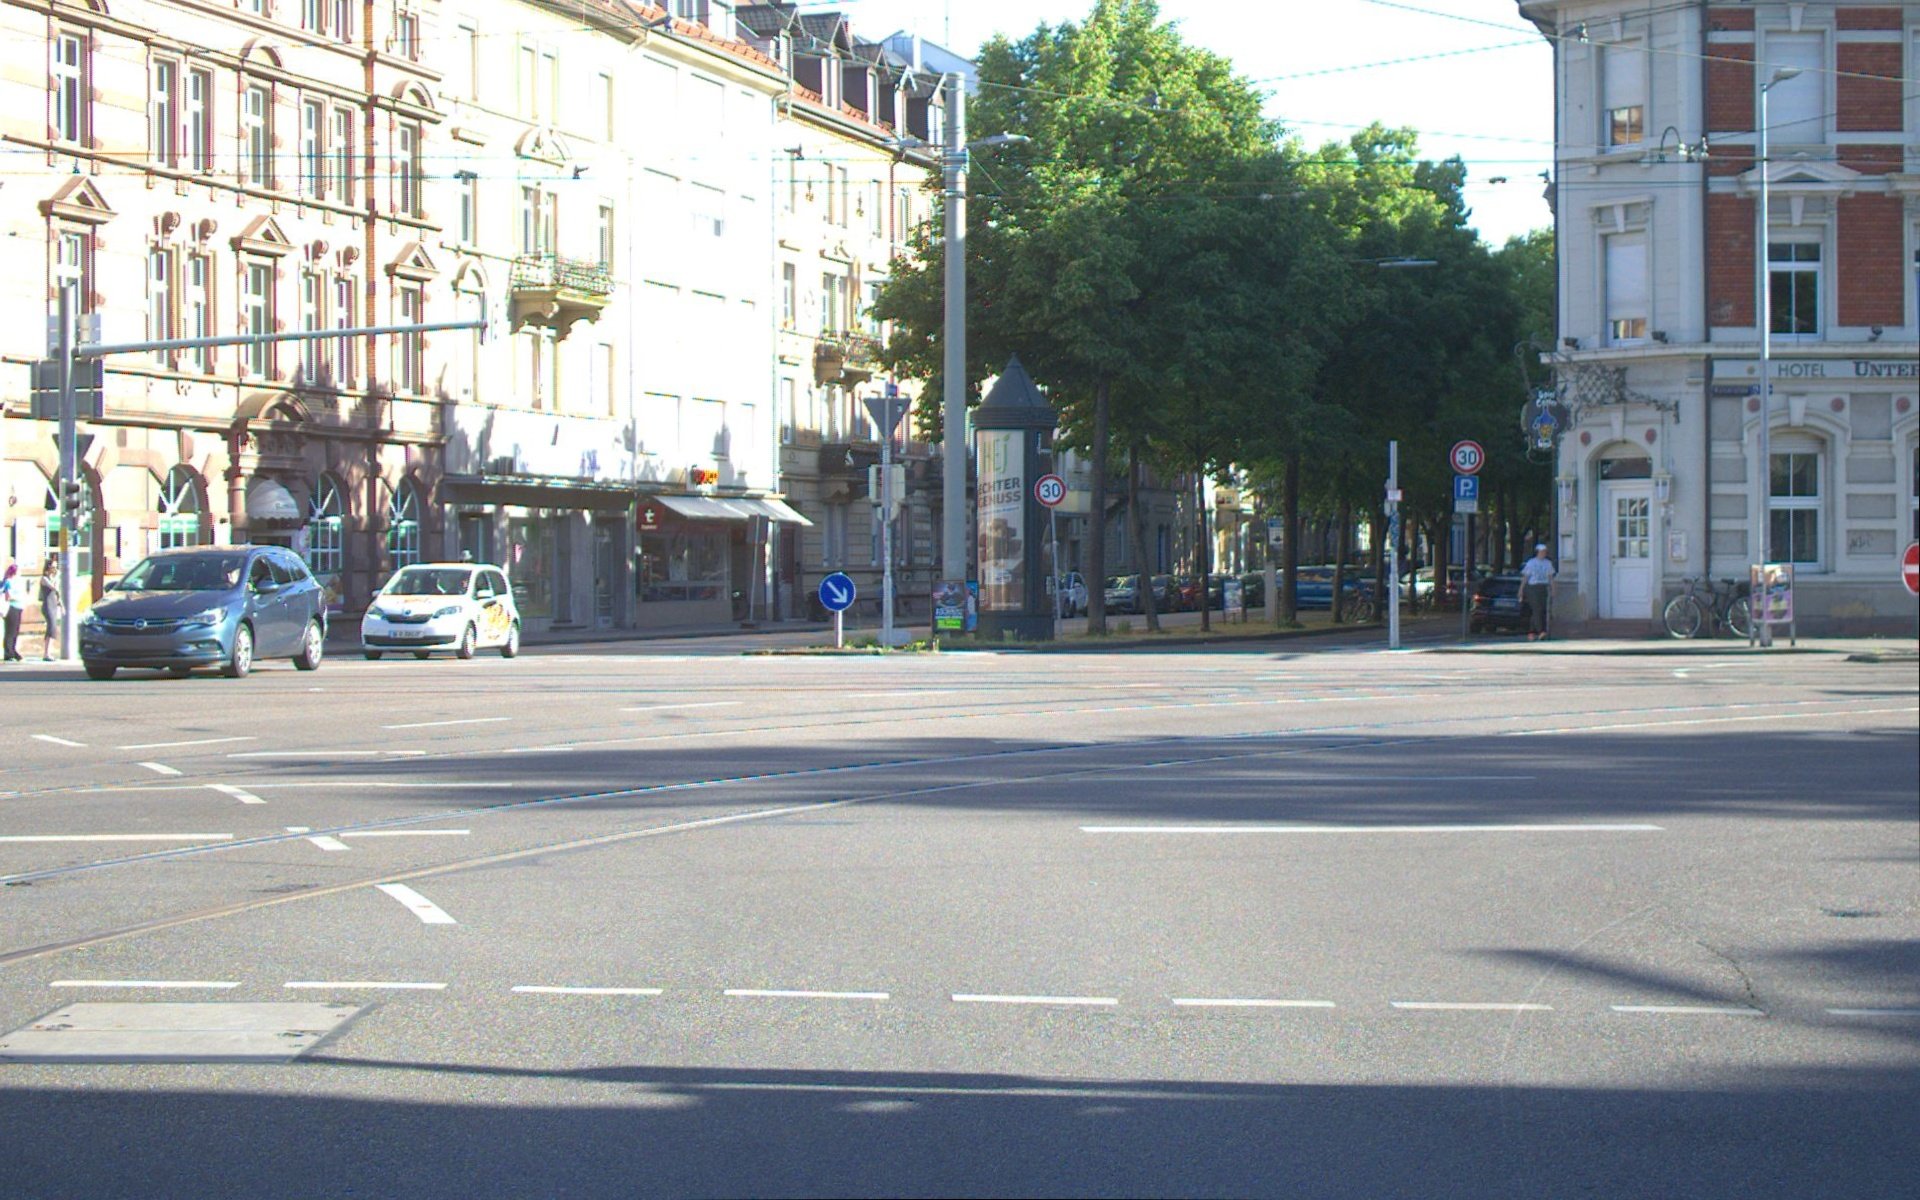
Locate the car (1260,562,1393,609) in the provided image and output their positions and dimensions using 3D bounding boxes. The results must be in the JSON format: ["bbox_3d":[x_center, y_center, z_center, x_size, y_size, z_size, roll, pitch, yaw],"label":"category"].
[{"bbox_3d":[12.322,-0.483,115.647,3.993,1.540,1.997,0,1,28],"label":"car"}]

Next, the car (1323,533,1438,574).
[{"bbox_3d":[16.399,-1.812,134.134,3.993,1.540,1.997,0,1,28],"label":"car"}]

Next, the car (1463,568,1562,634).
[{"bbox_3d":[13.270,0.001,82.398,1.995,1.492,4.031,0,1,14],"label":"car"}]

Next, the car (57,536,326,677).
[{"bbox_3d":[-8.626,0.033,38.984,1.774,1.492,4.573,0,1,4],"label":"car"}]

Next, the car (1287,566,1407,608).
[{"bbox_3d":[14.446,-0.492,128.288,3.993,1.540,1.997,0,1,28],"label":"car"}]

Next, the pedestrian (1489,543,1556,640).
[{"bbox_3d":[9.765,-0.147,59.703,0.715,1.664,0.939,-1,1,-29],"label":"pedestrian"}]

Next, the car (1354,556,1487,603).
[{"bbox_3d":[15.598,-0.693,116.518,3.994,1.540,1.997,0,1,31],"label":"car"}]

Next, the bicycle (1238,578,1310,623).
[{"bbox_3d":[7.548,0.008,82.741,0.582,1.063,1.949,-1,1,-37],"label":"bicycle"}]

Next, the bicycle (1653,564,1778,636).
[{"bbox_3d":[12.554,0.004,57.159,1.961,1.186,0.546,0,1,5],"label":"bicycle"}]

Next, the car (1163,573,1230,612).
[{"bbox_3d":[9.415,-0.311,136.515,1.995,1.492,4.031,0,1,14],"label":"car"}]

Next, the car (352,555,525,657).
[{"bbox_3d":[-7.946,0.073,52.663,1.718,1.492,3.583,0,1,7],"label":"car"}]

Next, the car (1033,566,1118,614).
[{"bbox_3d":[3.810,-0.337,112.857,1.995,1.492,4.031,0,1,14],"label":"car"}]

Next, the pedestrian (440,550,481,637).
[{"bbox_3d":[-10.915,-0.147,75.165,0.682,1.902,0.632,0,1,16],"label":"pedestrian"}]

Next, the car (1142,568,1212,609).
[{"bbox_3d":[8.330,-0.451,131.769,1.995,1.492,4.031,0,1,14],"label":"car"}]

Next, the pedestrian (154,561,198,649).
[{"bbox_3d":[-14.689,0.091,64.392,0.627,1.636,0.537,0,1,13],"label":"pedestrian"}]

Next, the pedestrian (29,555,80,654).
[{"bbox_3d":[-15.069,0.064,57.202,0.631,1.636,0.552,0,1,13],"label":"pedestrian"}]

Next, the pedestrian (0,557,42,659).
[{"bbox_3d":[-15.361,0.124,55.827,0.675,1.636,0.578,0,1,13],"label":"pedestrian"}]

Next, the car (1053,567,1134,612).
[{"bbox_3d":[4.587,-0.370,117.344,1.995,1.492,4.031,0,1,14],"label":"car"}]

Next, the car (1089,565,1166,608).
[{"bbox_3d":[5.979,-0.494,122.578,1.995,1.492,4.031,0,1,14],"label":"car"}]

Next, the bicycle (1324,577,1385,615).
[{"bbox_3d":[11.379,-0.129,99.233,0.582,1.063,1.949,-1,1,-37],"label":"bicycle"}]
